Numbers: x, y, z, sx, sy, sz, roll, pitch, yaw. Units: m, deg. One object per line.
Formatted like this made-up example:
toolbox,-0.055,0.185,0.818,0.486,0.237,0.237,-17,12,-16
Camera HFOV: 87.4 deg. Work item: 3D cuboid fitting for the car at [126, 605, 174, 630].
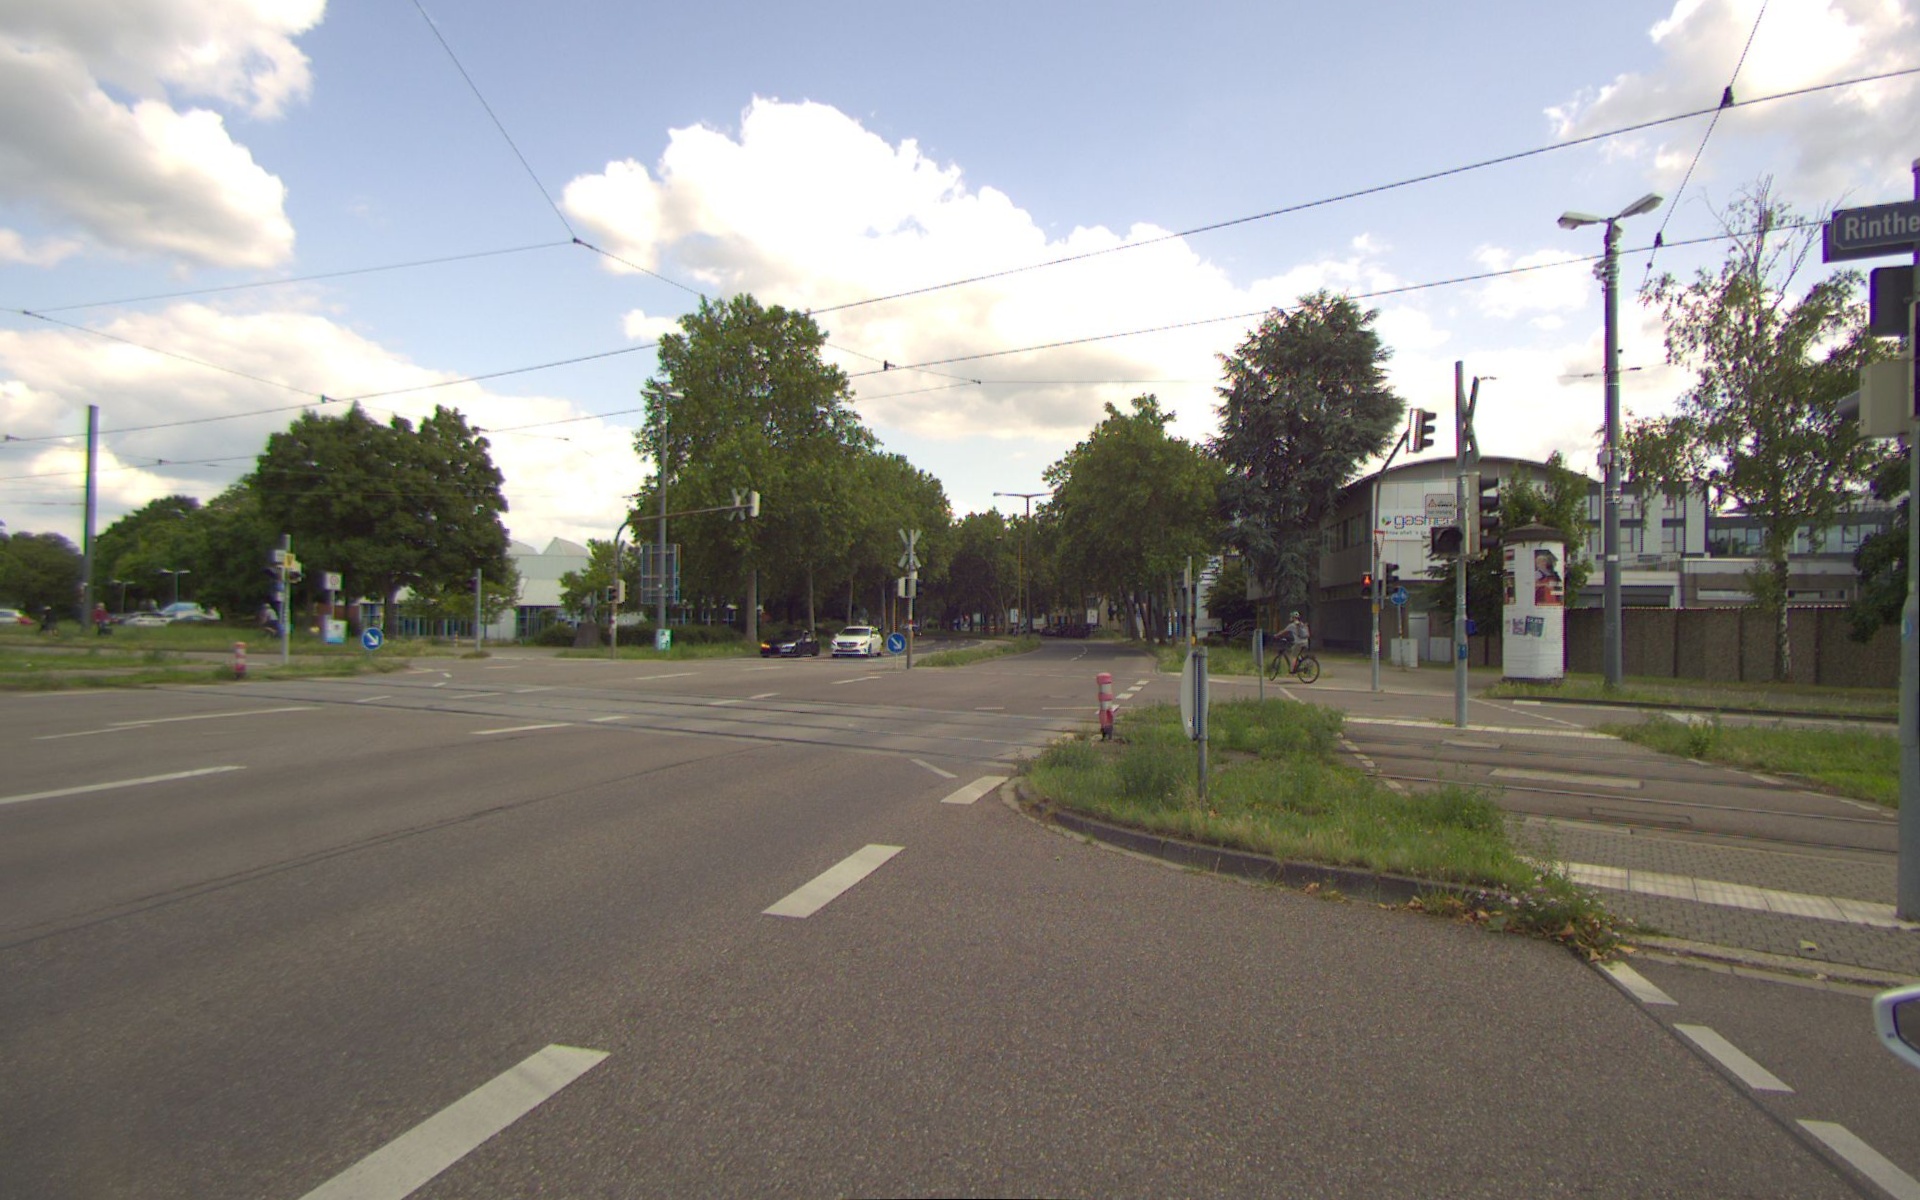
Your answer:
car,-56.311,1.228,69.804,4.330,1.661,1.988,0,-2,44

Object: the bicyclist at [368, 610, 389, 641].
bicyclist,-28.210,1.234,48.718,0.825,1.509,0.956,1,-1,-28

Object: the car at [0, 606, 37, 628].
car,-69.205,1.183,72.264,1.972,1.550,3.977,0,-2,43

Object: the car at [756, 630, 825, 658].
car,-7.856,2.020,46.929,1.607,1.207,3.709,0,-1,19

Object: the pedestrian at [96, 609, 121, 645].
pedestrian,-39.232,1.238,46.266,0.625,1.666,0.613,0,1,4

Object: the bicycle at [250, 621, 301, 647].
bicycle,-32.115,1.580,47.149,1.944,1.169,0.952,0,-1,18

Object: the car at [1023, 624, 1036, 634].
car,12.360,5.135,179.129,1.960,1.595,4.000,0,1,0

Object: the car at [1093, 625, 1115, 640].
car,17.031,3.821,118.957,1.960,1.595,4.000,0,1,0

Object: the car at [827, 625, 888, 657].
car,-4.730,1.894,46.992,1.794,1.382,4.141,1,-1,10

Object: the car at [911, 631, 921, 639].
car,-7.178,5.721,164.384,1.608,1.207,3.707,1,-1,-3

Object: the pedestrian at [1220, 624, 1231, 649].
pedestrian,16.862,2.310,63.733,0.610,1.590,0.559,0,1,11

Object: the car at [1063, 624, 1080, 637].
car,15.387,4.253,139.142,1.960,1.595,4.000,0,1,0

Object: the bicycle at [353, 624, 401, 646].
bicycle,-28.234,1.699,48.696,1.959,1.054,0.945,2,-1,-28

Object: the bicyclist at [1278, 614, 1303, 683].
bicyclist,8.999,1.296,27.341,0.535,1.834,0.539,1,1,33

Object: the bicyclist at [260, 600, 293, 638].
bicyclist,-32.085,0.896,47.156,0.819,1.745,0.963,0,-1,17

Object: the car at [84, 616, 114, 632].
car,-92.095,2.566,107.377,4.330,1.661,1.988,-1,-2,44

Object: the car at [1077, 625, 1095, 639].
car,16.384,4.120,130.749,1.960,1.595,4.000,0,1,0

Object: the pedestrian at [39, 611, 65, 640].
pedestrian,-44.029,1.237,48.713,0.737,1.372,0.651,0,1,18

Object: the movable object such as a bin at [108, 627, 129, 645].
movable object such as a bin,-38.748,1.663,46.240,0.450,0.822,0.579,0,1,4

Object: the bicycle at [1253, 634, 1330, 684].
bicycle,9.017,1.590,27.356,1.919,1.252,0.539,1,1,33

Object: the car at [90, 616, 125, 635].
car,-78.239,2.322,92.212,4.330,1.661,1.988,-1,-2,44
